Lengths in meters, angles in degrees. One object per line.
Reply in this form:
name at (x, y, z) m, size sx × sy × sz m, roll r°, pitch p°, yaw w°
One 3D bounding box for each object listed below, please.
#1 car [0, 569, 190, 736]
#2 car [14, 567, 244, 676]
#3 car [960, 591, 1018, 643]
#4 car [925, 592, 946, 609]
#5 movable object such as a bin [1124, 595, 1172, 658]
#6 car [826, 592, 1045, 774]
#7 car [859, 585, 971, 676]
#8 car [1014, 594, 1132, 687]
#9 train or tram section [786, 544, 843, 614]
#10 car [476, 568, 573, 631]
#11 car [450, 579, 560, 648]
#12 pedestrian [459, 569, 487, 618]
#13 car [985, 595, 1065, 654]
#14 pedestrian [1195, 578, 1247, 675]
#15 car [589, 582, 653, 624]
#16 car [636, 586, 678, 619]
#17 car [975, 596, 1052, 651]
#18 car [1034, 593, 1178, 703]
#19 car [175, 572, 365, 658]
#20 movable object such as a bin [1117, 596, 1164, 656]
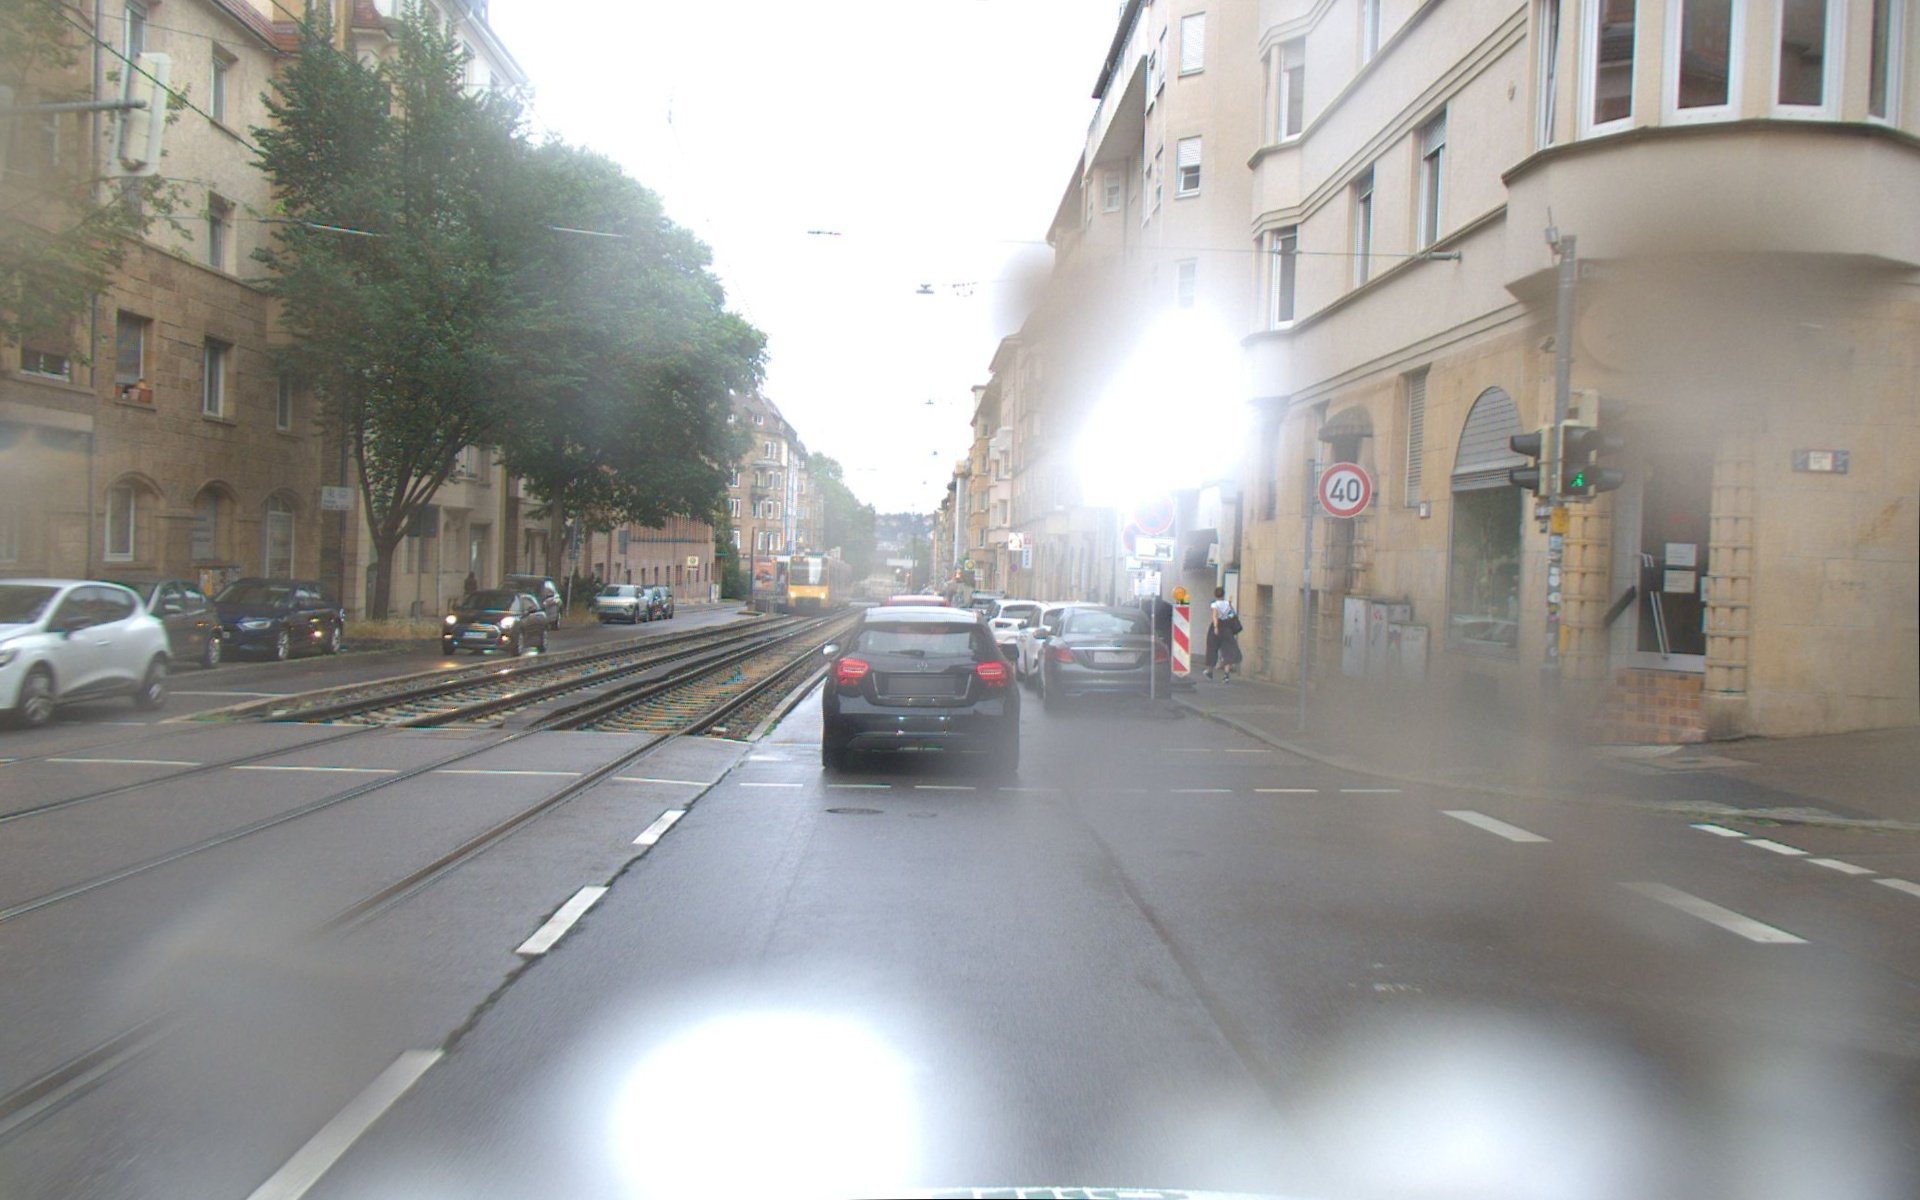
car at (-9.711, 0.484, 17.102) m, size 1.745 × 1.529 × 4.060 m, roll 1°, pitch -1°, yaw -3°
car at (-12.923, 0.329, 26.024) m, size 1.656 × 1.556 × 4.173 m, roll 1°, pitch -1°, yaw -3°
car at (0.956, 0.571, 55.289) m, size 1.803 × 1.636 × 4.760 m, roll 1°, pitch -1°, yaw 1°
car at (-2.280, 0.055, 154.083) m, size 1.848 × 1.552 × 4.245 m, roll 2°, pitch 0°, yaw 0°
movable object such as a bin at (4.607, 0.644, 40.584) m, size 0.960 × 1.494 × 1.272 m, roll 1°, pitch -1°, yaw -2°
car at (-0.247, 0.700, 15.736) m, size 1.797 × 1.478 × 3.900 m, roll 1°, pitch 0°, yaw -1°
car at (-0.848, 0.548, 31.741) m, size 1.953 × 1.552 × 4.244 m, roll 2°, pitch 0°, yaw -1°
car at (1.950, 0.691, 29.660) m, size 1.677 × 1.493 × 4.772 m, roll 1°, pitch -1°, yaw -1°
train or tram section at (-9.226, -1.296, 106.562) m, size 2.690 × 4.133 × 17.206 m, roll 1°, pitch 0°, yaw -2°
car at (-13.745, -0.037, 52.515) m, size 1.914 × 1.772 × 4.776 m, roll 4°, pitch 0°, yaw -3°
car at (-10.256, 0.279, 37.493) m, size 1.620 × 1.488 × 3.732 m, roll 0°, pitch 0°, yaw -3°
pedestrian at (-17.201, -0.214, 58.419) m, size 0.713 × 1.692 × 0.770 m, roll 2°, pitch 0°, yaw -2°
car at (1.614, 0.629, 42.714) m, size 1.753 × 1.410 × 4.393 m, roll 1°, pitch -1°, yaw -2°
pedestrian at (4.718, 0.476, 29.918) m, size 0.788 × 1.717 × 0.754 m, roll 1°, pitch -1°, yaw -2°
car at (-14.229, 0.098, 69.701) m, size 1.922 × 1.633 × 4.327 m, roll 2°, pitch 0°, yaw -3°
car at (-14.385, 0.093, 78.591) m, size 1.541 × 1.492 × 3.043 m, roll 2°, pitch 0°, yaw -3°
car at (1.490, 0.661, 47.380) m, size 1.796 × 1.493 × 4.372 m, roll 1°, pitch -1°, yaw -4°
car at (2.043, 0.659, 24.295) m, size 1.675 × 1.435 × 4.817 m, roll 1°, pitch -1°, yaw 0°
car at (-13.028, 0.285, 31.579) m, size 1.745 × 1.485 × 4.975 m, roll 1°, pitch -1°, yaw -3°
movable object such as a bin at (4.591, 0.659, 42.080) m, size 0.997 × 1.494 × 1.322 m, roll 1°, pitch -1°, yaw -2°
